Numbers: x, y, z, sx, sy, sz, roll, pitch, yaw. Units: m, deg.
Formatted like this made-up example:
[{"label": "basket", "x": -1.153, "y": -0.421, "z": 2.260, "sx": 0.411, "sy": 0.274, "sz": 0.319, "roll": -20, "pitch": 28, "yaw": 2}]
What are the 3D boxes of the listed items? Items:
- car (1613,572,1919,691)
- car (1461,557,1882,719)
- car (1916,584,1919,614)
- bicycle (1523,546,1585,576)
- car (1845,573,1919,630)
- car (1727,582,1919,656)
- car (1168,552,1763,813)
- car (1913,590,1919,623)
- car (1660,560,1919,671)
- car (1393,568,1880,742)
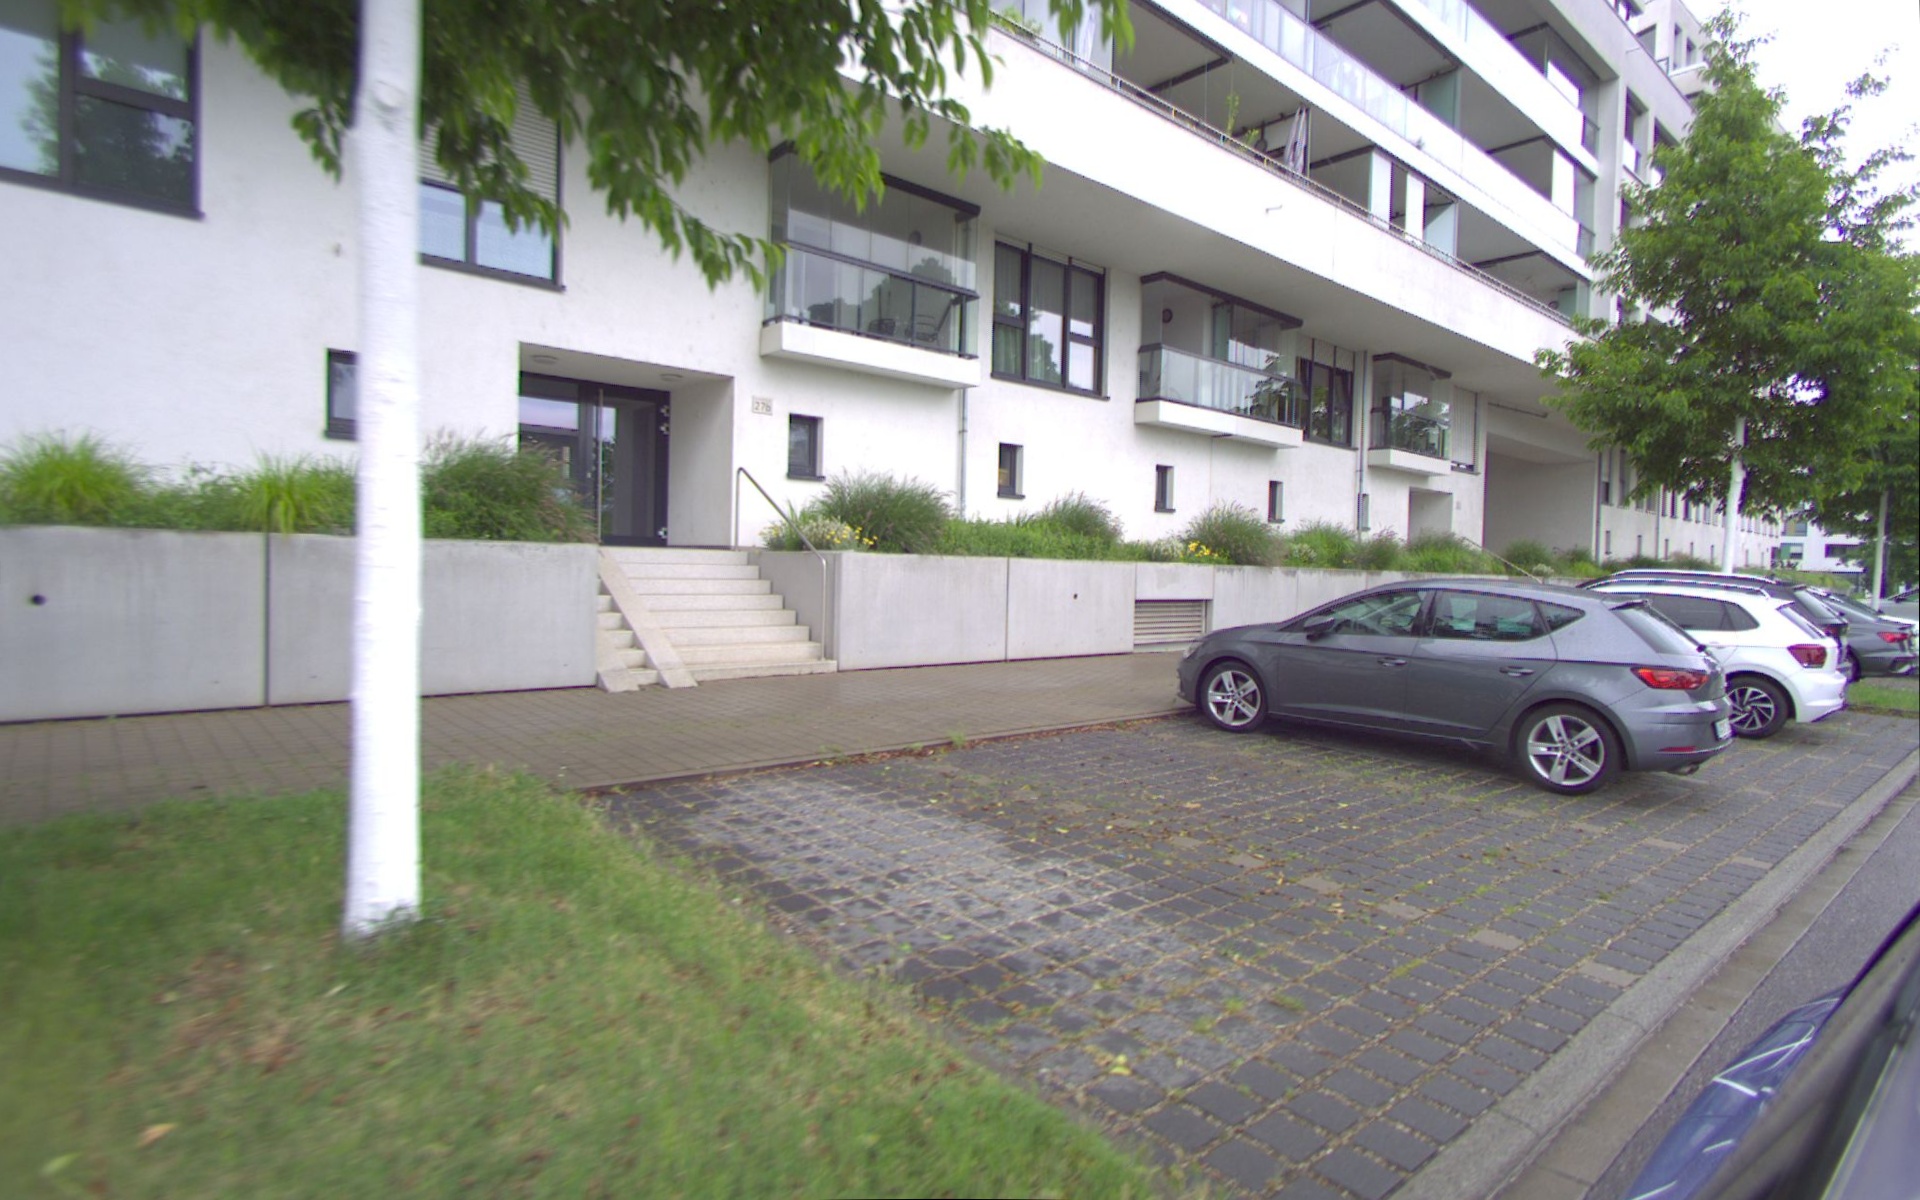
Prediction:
[{"label": "car", "x": 13.156, "y": 0.422, "z": 16.377, "sx": 1.654, "sy": 1.528, "sz": 3.996, "roll": 1, "pitch": 3, "yaw": -41}, {"label": "car", "x": 9.126, "y": 0.340, "z": 13.253, "sx": 1.866, "sy": 1.644, "sz": 4.168, "roll": 0, "pitch": 4, "yaw": -43}, {"label": "car", "x": 49.325, "y": 0.104, "z": 48.771, "sx": 1.662, "sy": 1.499, "sz": 4.498, "roll": 0, "pitch": 5, "yaw": -41}, {"label": "bicycle", "x": 22.209, "y": -1.444, "z": 37.855, "sx": 0.711, "sy": 1.068, "sz": 1.898, "roll": 0, "pitch": 1, "yaw": -41}, {"label": "car", "x": 32.648, "y": 0.190, "z": 33.675, "sx": 1.854, "sy": 1.704, "sz": 4.549, "roll": -1, "pitch": 7, "yaw": -43}, {"label": "car", "x": 20.238, "y": 0.401, "z": 23.201, "sx": 1.905, "sy": 1.514, "sz": 3.991, "roll": 0, "pitch": 2, "yaw": -44}, {"label": "car", "x": 3.882, "y": 0.438, "z": 8.321, "sx": 1.604, "sy": 1.517, "sz": 4.036, "roll": 0, "pitch": 4, "yaw": -43}, {"label": "car", "x": 45.489, "y": 0.310, "z": 45.331, "sx": 1.565, "sy": 1.493, "sz": 3.961, "roll": 0, "pitch": 1, "yaw": -43}, {"label": "car", "x": 16.564, "y": 0.247, "z": 19.656, "sx": 1.902, "sy": 1.707, "sz": 4.486, "roll": 1, "pitch": 5, "yaw": -42}, {"label": "car", "x": 7.436, "y": 0.451, "z": 11.506, "sx": 1.609, "sy": 1.445, "sz": 4.306, "roll": 0, "pitch": 4, "yaw": -42}]
